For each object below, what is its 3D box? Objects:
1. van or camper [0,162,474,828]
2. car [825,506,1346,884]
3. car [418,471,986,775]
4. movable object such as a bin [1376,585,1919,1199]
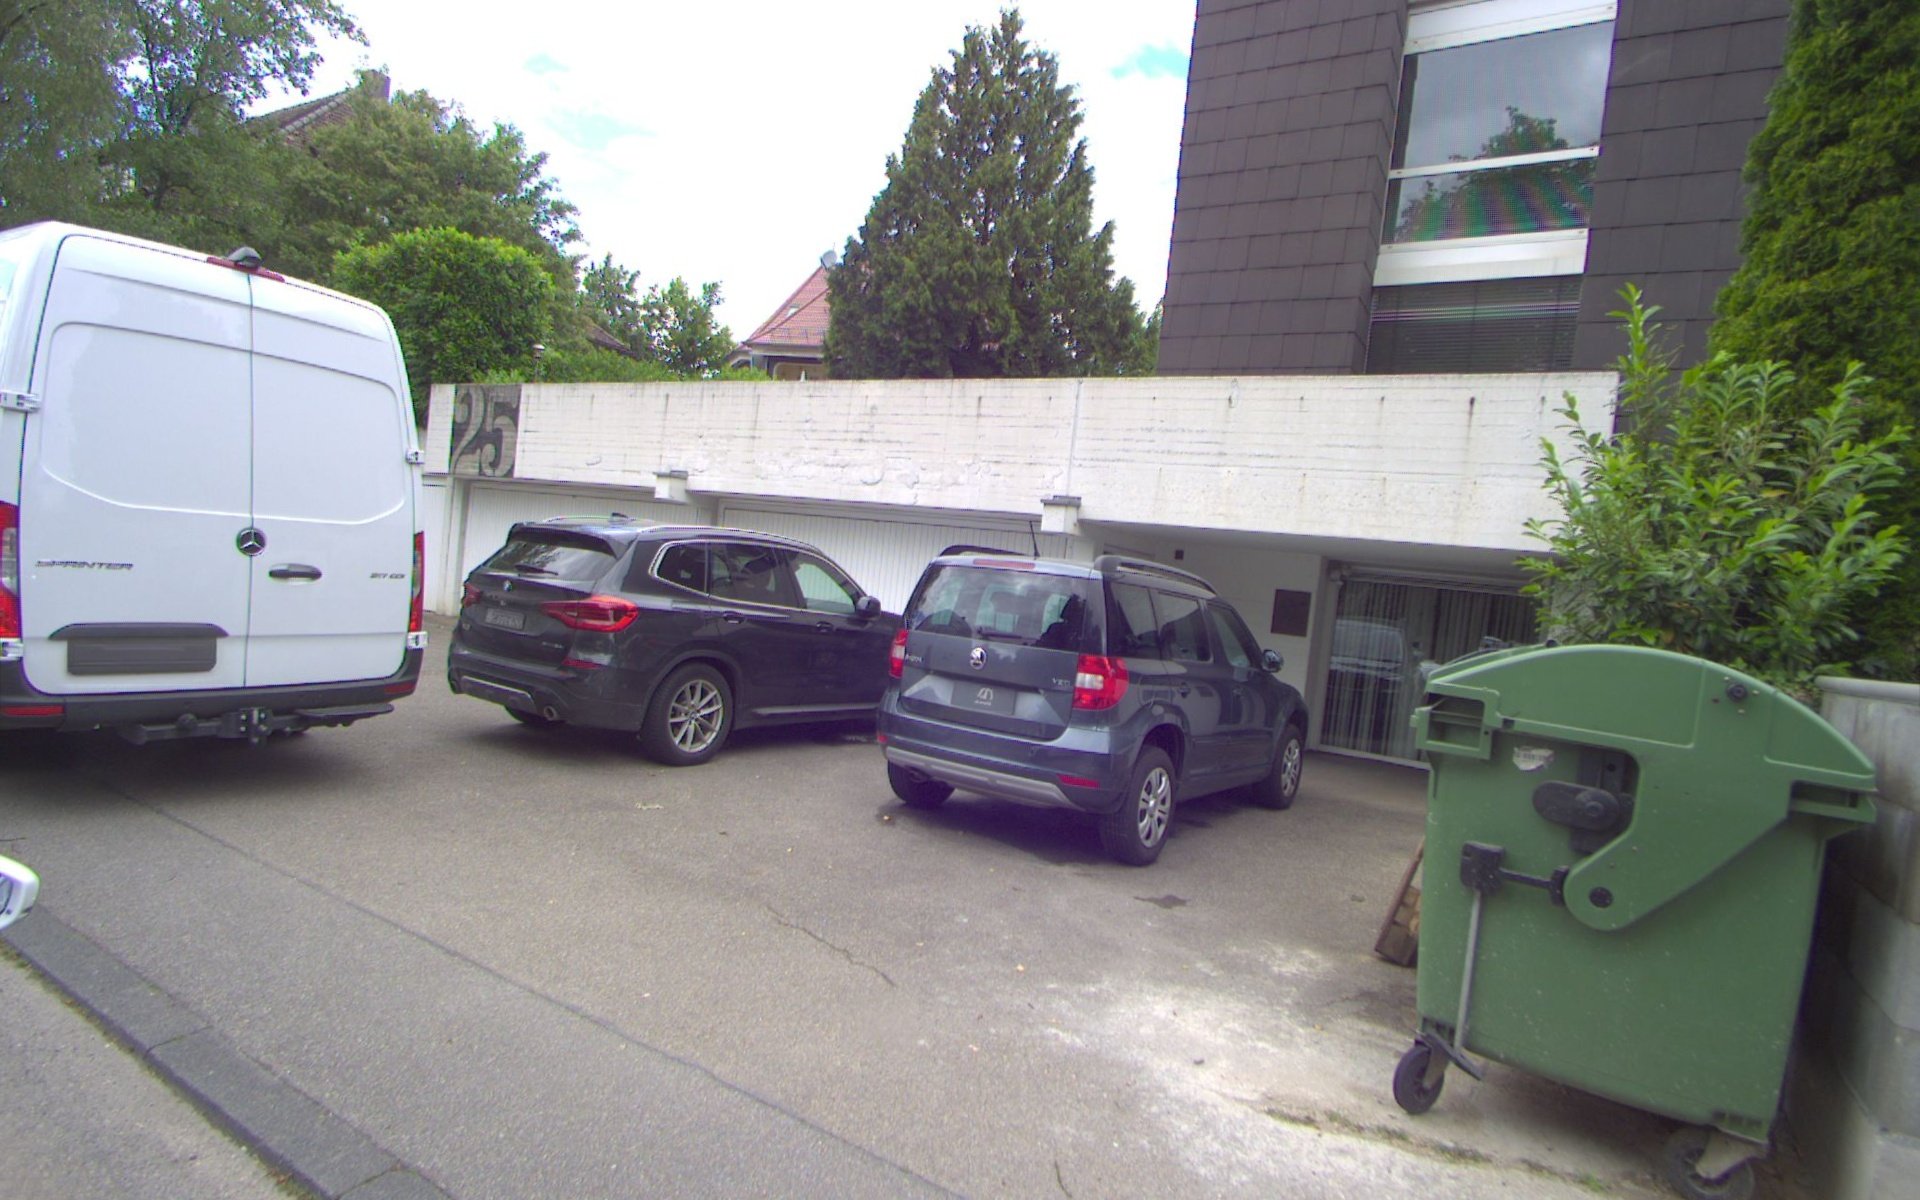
[{"bbox_3d":[-6.087,-0.652,6.518,6.432,2.653,1.995,7,1,32],"label":"van or camper"},{"bbox_3d":[1.152,0.538,7.013,1.804,1.772,3.973,7,1,35],"label":"car"},{"bbox_3d":[-1.743,0.208,8.294,1.710,1.772,4.419,7,1,33],"label":"car"},{"bbox_3d":[1.971,0.809,3.007,1.016,1.550,1.034,7,1,33],"label":"movable object such as a bin"}]
